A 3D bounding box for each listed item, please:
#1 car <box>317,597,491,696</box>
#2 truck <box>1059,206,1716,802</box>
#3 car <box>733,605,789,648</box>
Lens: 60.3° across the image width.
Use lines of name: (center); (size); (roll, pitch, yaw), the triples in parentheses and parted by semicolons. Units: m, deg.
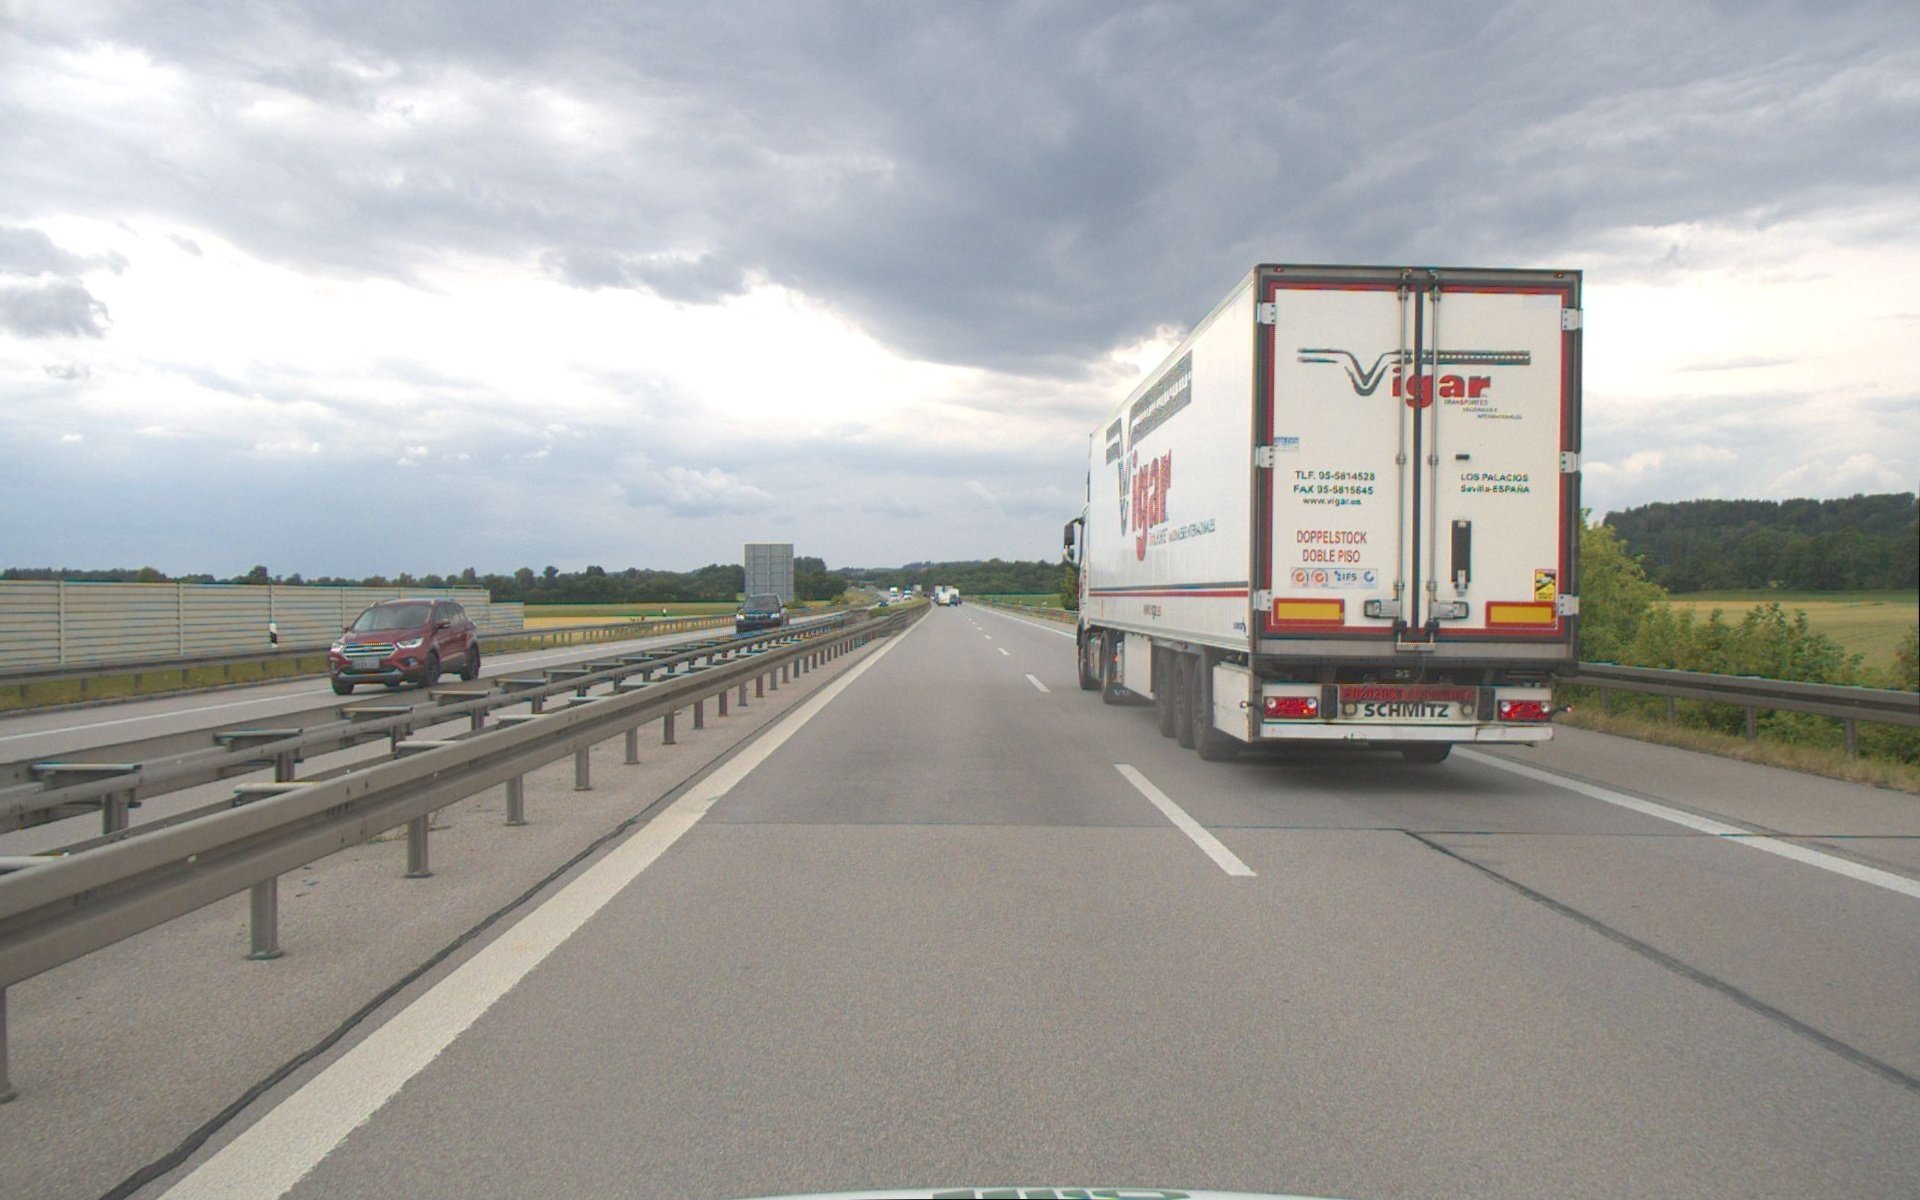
car: (-10.488, 0.820, 31.518); (1.857, 1.660, 4.173); (-3, 0, -1)
truck: (3.741, -0.814, 20.697); (3.598, 4.489, 16.336); (0, 1, -1)
car: (-8.466, 1.109, 70.684); (1.857, 1.660, 4.173); (-3, 0, -1)
